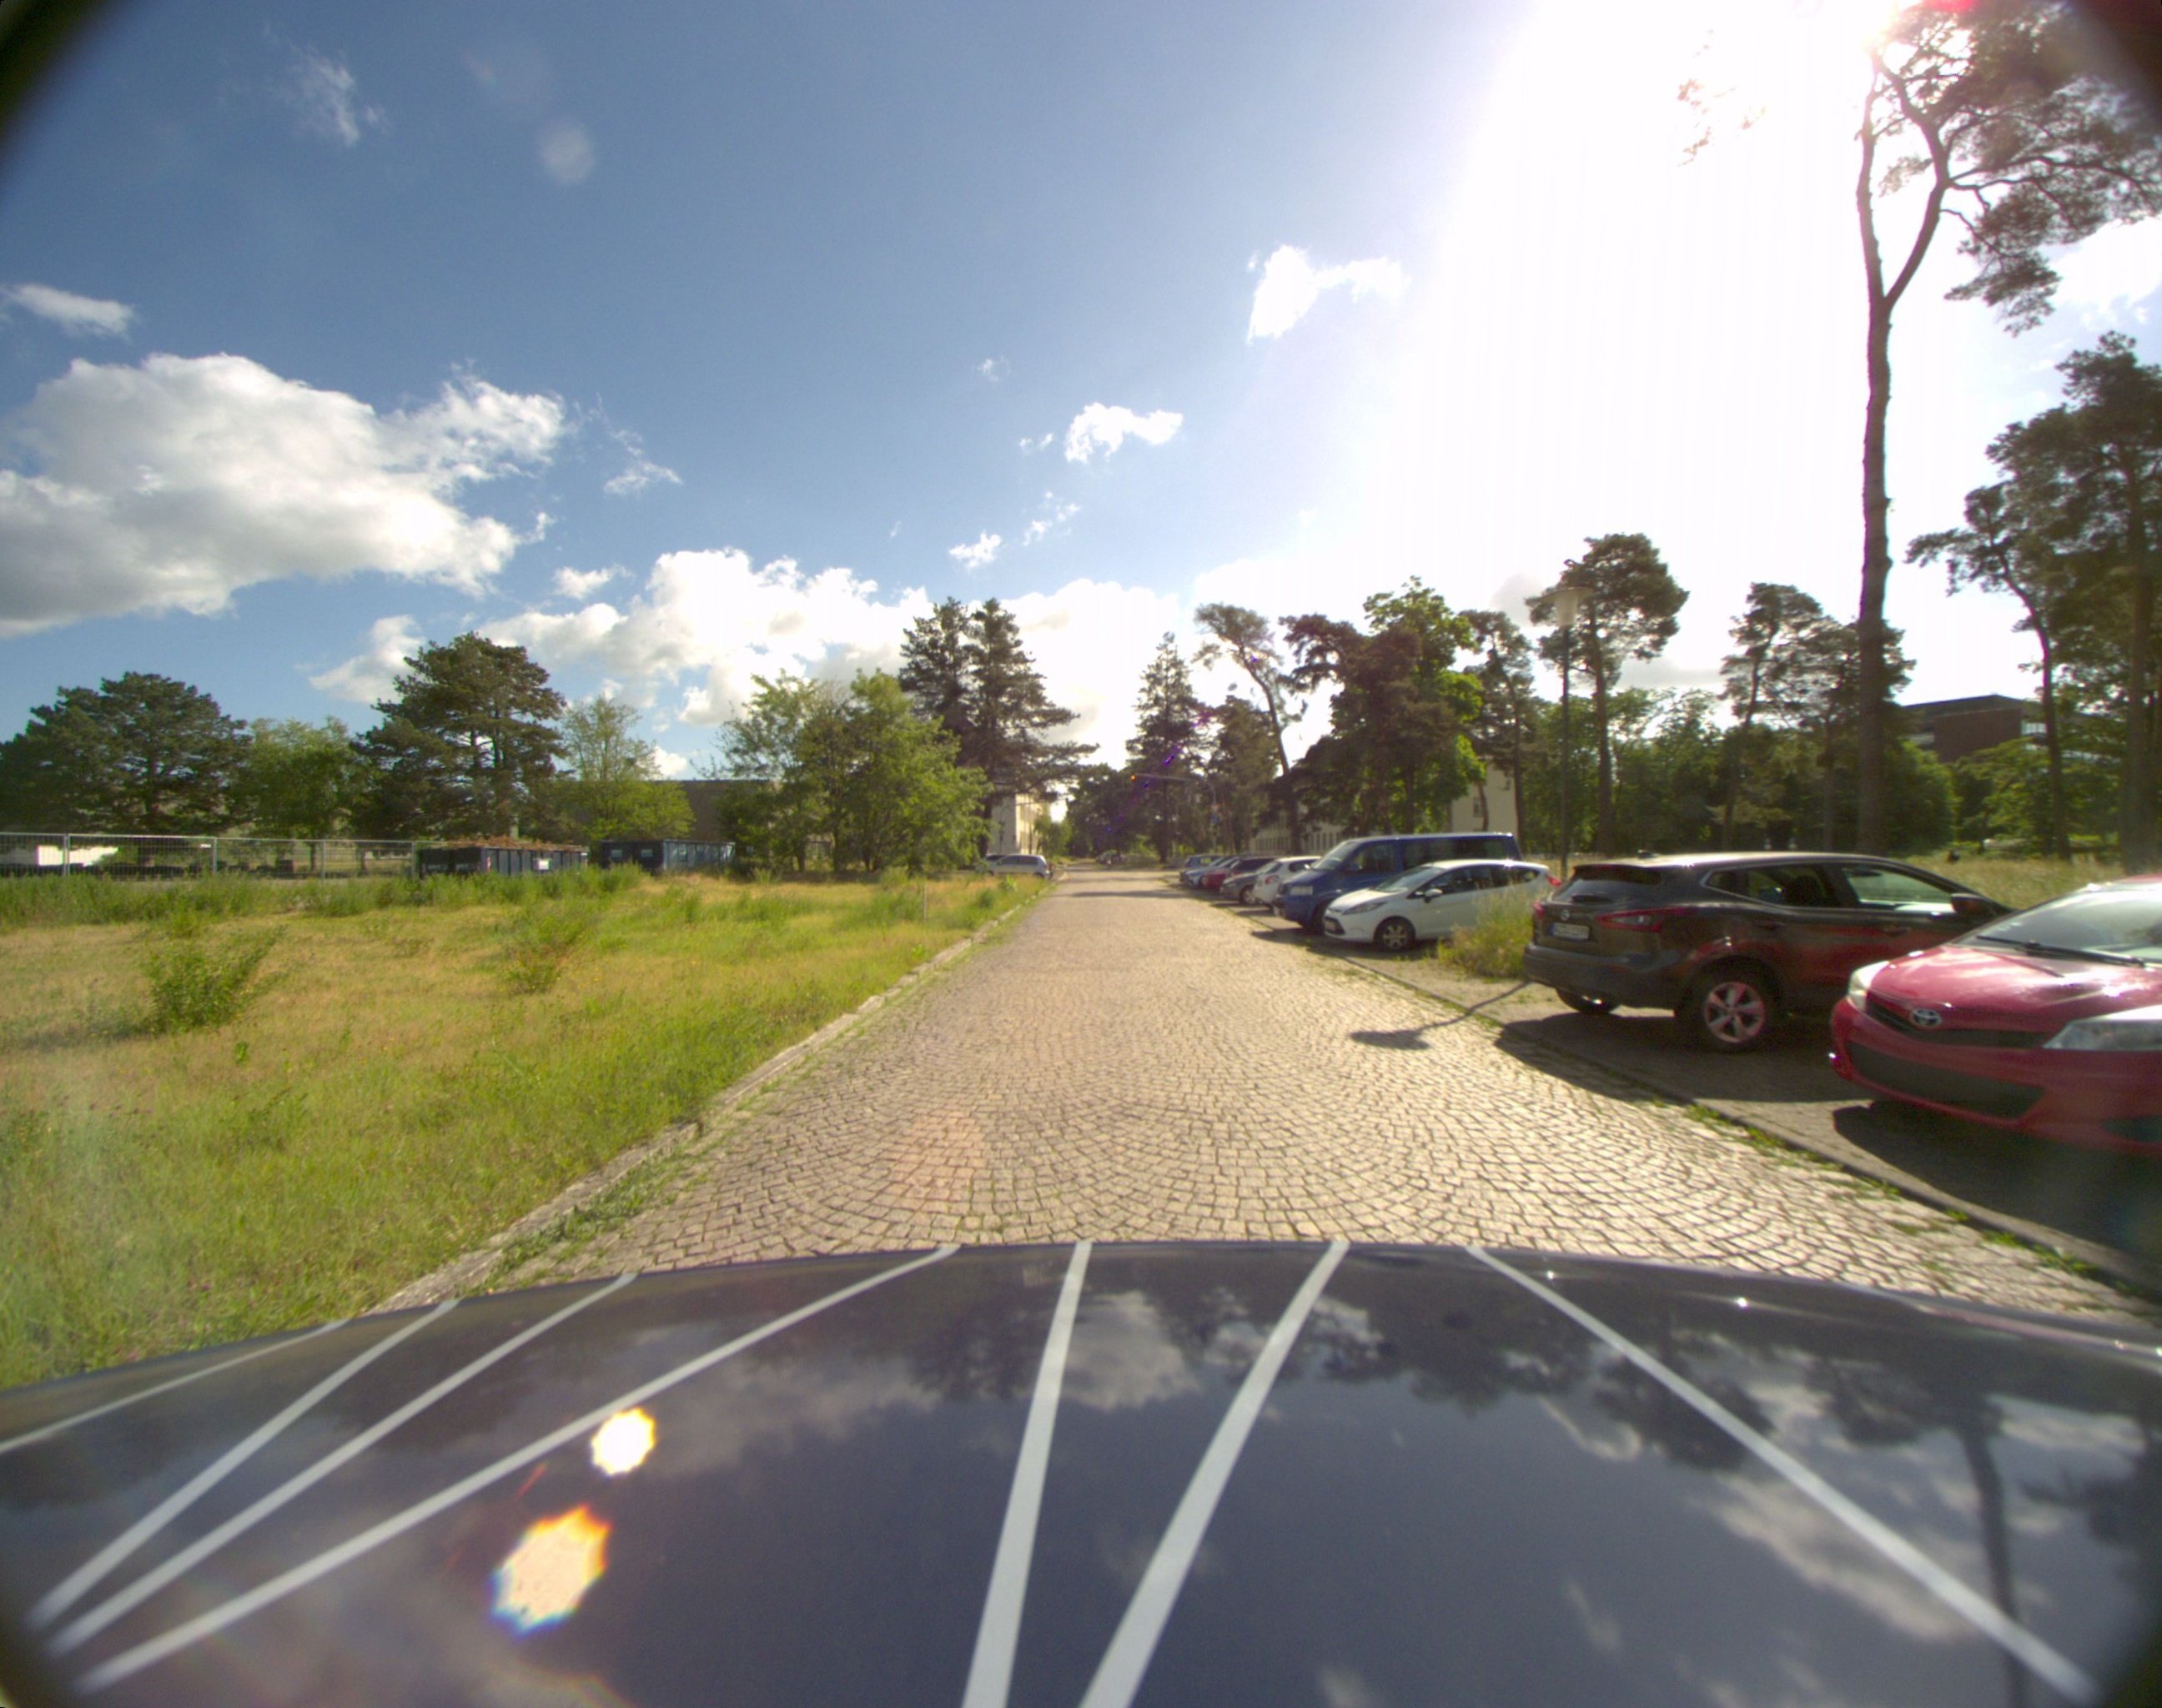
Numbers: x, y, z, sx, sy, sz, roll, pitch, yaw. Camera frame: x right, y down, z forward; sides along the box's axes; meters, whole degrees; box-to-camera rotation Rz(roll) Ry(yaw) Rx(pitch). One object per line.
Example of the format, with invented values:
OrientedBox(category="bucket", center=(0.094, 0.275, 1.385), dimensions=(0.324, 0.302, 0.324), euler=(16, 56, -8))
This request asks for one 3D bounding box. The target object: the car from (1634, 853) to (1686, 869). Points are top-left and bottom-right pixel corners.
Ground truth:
OrientedBox(category="car", center=(61.176, 0.753, 80.315), dimensions=(4.104, 1.571, 1.720), euler=(1, 1, 3))

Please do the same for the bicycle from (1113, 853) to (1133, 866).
OrientedBox(category="bicycle", center=(4.854, 0.613, 88.235), dimensions=(2.113, 1.276, 0.621), euler=(-5, 1, -1))

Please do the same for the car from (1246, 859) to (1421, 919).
OrientedBox(category="car", center=(6.849, 0.933, 20.950), dimensions=(4.206, 1.466, 1.824), euler=(-1, 0, 1))

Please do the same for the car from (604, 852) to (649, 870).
OrientedBox(category="car", center=(-45.509, 0.637, 76.147), dimensions=(1.860, 1.555, 4.059), euler=(0, 3, 4))

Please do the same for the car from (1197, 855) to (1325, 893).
OrientedBox(category="car", center=(7.431, 0.824, 31.687), dimensions=(4.876, 1.412, 1.938), euler=(-1, 1, 2))

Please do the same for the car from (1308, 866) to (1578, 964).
OrientedBox(category="car", center=(6.088, 0.987, 13.069), dimensions=(3.826, 1.432, 1.682), euler=(-2, 1, -1))

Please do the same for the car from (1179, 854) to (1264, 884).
OrientedBox(category="car", center=(7.210, 0.766, 39.379), dimensions=(4.037, 1.474, 1.949), euler=(-1, 0, 0))

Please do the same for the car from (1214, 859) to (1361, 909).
OrientedBox(category="car", center=(6.381, 0.924, 23.845), dimensions=(4.086, 1.417, 1.923), euler=(-1, 0, 3))

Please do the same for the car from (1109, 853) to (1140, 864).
OrientedBox(category="car", center=(5.884, 0.627, 103.072), dimensions=(4.044, 1.514, 1.817), euler=(0, 1, -7))

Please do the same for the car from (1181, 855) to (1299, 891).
OrientedBox(category="car", center=(7.055, 0.831, 34.040), dimensions=(4.876, 1.413, 1.938), euler=(-1, 1, 2))

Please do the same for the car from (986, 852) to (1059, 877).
OrientedBox(category="car", center=(-3.766, 0.658, 49.534), dimensions=(4.548, 1.413, 1.894), euler=(2, 1, 0))

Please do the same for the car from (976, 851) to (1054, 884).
OrientedBox(category="car", center=(-3.308, 0.672, 38.729), dimensions=(3.750, 1.468, 1.751), euler=(3, 1, 0))

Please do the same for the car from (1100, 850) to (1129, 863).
OrientedBox(category="car", center=(5.326, 0.393, 120.441), dimensions=(4.226, 1.903, 1.816), euler=(0, 1, -9))

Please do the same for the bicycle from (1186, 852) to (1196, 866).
OrientedBox(category="bicycle", center=(10.961, 0.484, 75.532), dimensions=(0.621, 1.276, 2.115), euler=(-3, 0, 0))

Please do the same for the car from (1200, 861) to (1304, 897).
OrientedBox(category="car", center=(6.554, 0.961, 29.398), dimensions=(3.639, 1.227, 1.760), euler=(-1, 1, 3))

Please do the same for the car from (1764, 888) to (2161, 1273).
OrientedBox(category="car", center=(6.399, 0.953, 3.992), dimensions=(3.933, 1.440, 1.866), euler=(-2, 0, 0))

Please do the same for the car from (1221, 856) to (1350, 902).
OrientedBox(category="car", center=(7.097, 0.845, 26.712), dimensions=(4.086, 1.444, 1.821), euler=(-1, 1, 3))

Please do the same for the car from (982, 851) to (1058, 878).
OrientedBox(category="car", center=(-3.716, 0.649, 46.718), dimensions=(4.525, 1.456, 1.838), euler=(2, 1, -1))

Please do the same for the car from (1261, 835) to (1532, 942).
OrientedBox(category="car", center=(6.320, 0.663, 15.645), dimensions=(4.729, 1.956, 2.005), euler=(-1, 1, 1))

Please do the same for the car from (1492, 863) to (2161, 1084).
OrientedBox(category="car", center=(6.174, 0.915, 6.730), dimensions=(3.963, 1.558, 1.974), euler=(-2, 0, 0))

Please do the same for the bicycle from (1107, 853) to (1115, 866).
OrientedBox(category="bicycle", center=(3.336, 0.583, 84.923), dimensions=(0.621, 1.342, 2.114), euler=(-2, 1, -3))

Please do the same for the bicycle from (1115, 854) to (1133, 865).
OrientedBox(category="bicycle", center=(5.131, 0.628, 90.481), dimensions=(2.114, 1.276, 0.621), euler=(-2, 1, -5))

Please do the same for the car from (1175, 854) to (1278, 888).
OrientedBox(category="car", center=(6.984, 0.797, 36.763), dimensions=(4.593, 1.443, 1.984), euler=(-1, 1, -2))

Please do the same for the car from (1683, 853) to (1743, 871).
OrientedBox(category="car", center=(60.442, 0.751, 72.734), dimensions=(4.055, 1.620, 1.841), euler=(1, 1, 3))

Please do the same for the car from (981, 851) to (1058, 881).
OrientedBox(category="car", center=(-3.320, 0.647, 41.476), dimensions=(4.014, 1.433, 1.844), euler=(3, 0, 0))
